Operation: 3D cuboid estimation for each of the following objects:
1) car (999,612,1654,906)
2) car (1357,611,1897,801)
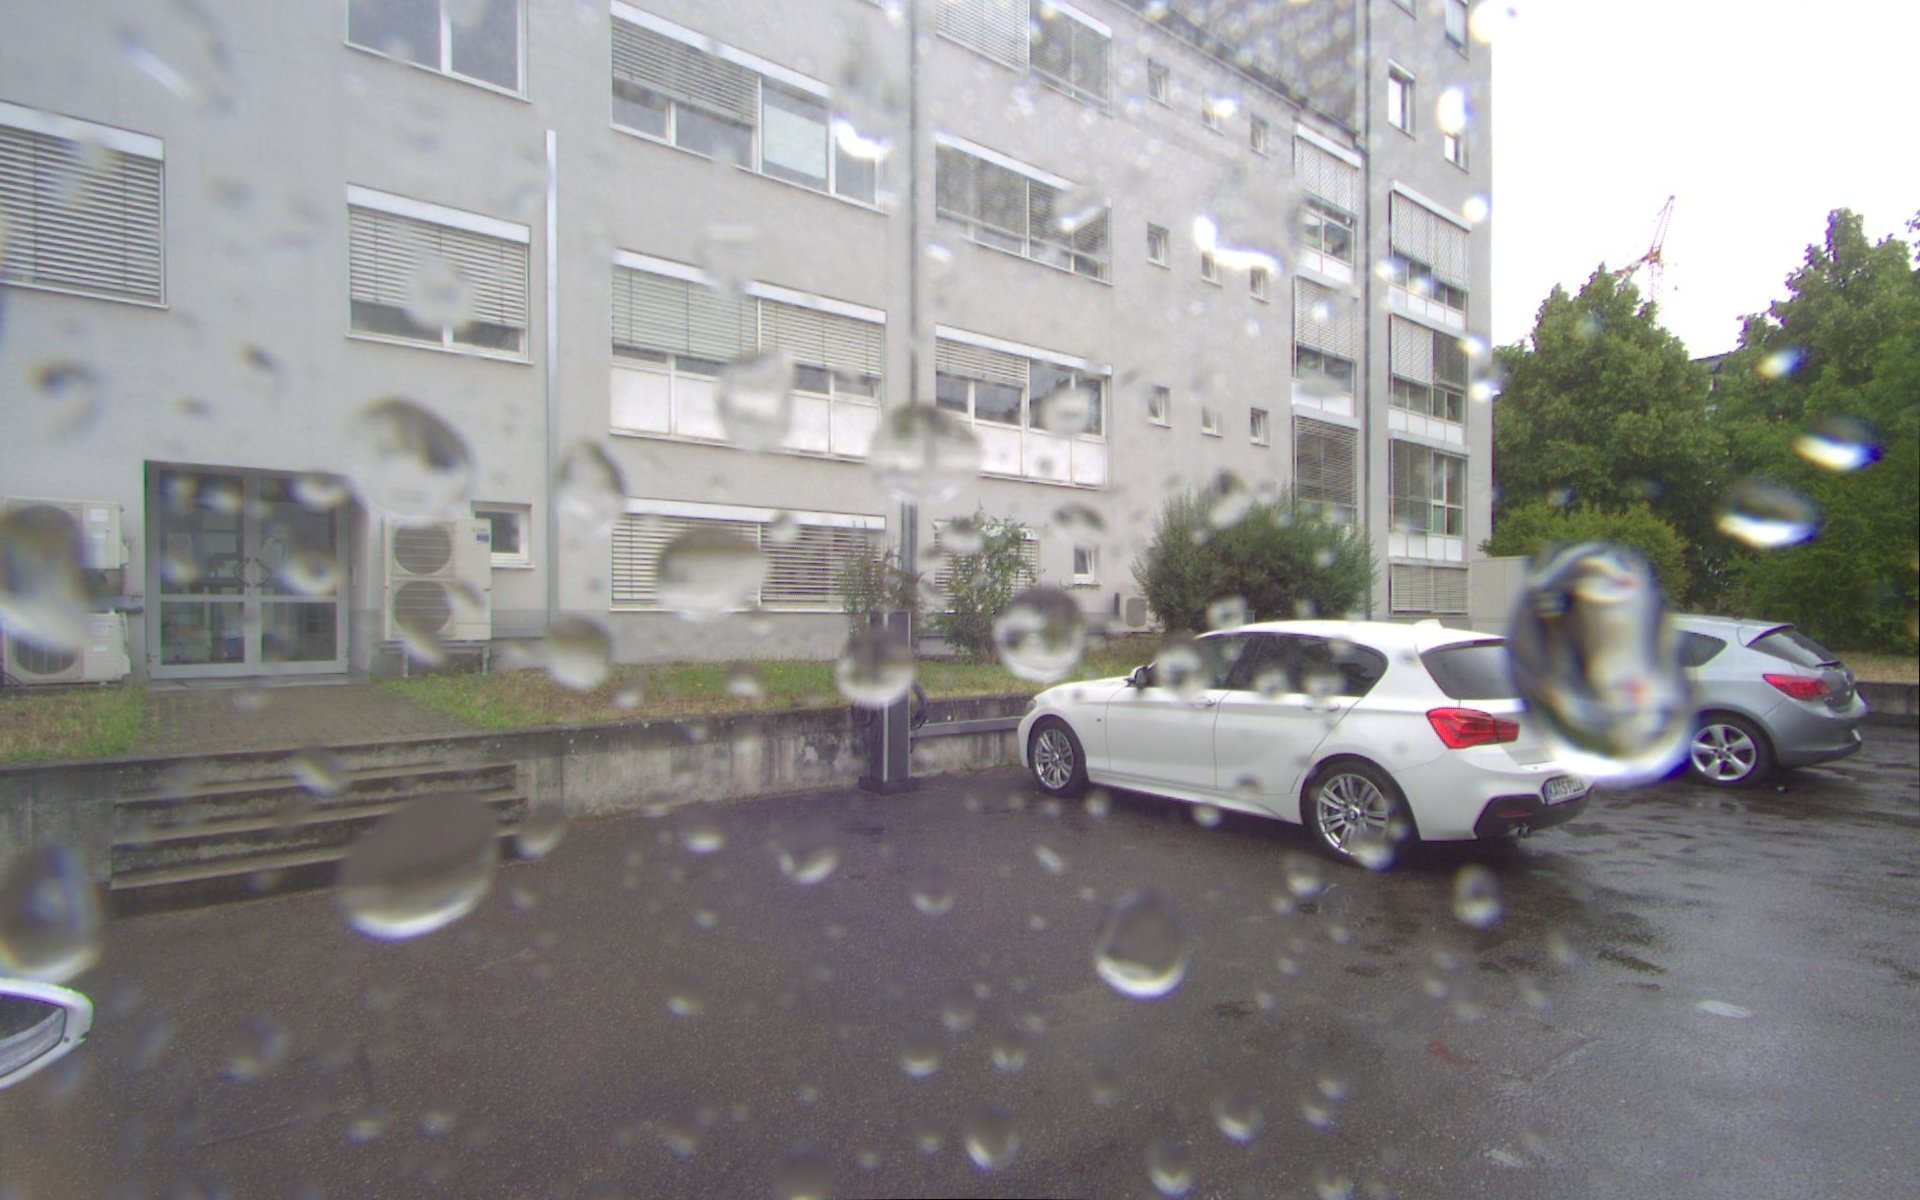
[{"bbox_3d":[2.359,0.868,7.421,1.976,1.509,4.191,1,-2,-36],"label":"car"},{"bbox_3d":[6.523,0.892,10.233,1.976,1.509,4.191,1,-2,-36],"label":"car"}]
